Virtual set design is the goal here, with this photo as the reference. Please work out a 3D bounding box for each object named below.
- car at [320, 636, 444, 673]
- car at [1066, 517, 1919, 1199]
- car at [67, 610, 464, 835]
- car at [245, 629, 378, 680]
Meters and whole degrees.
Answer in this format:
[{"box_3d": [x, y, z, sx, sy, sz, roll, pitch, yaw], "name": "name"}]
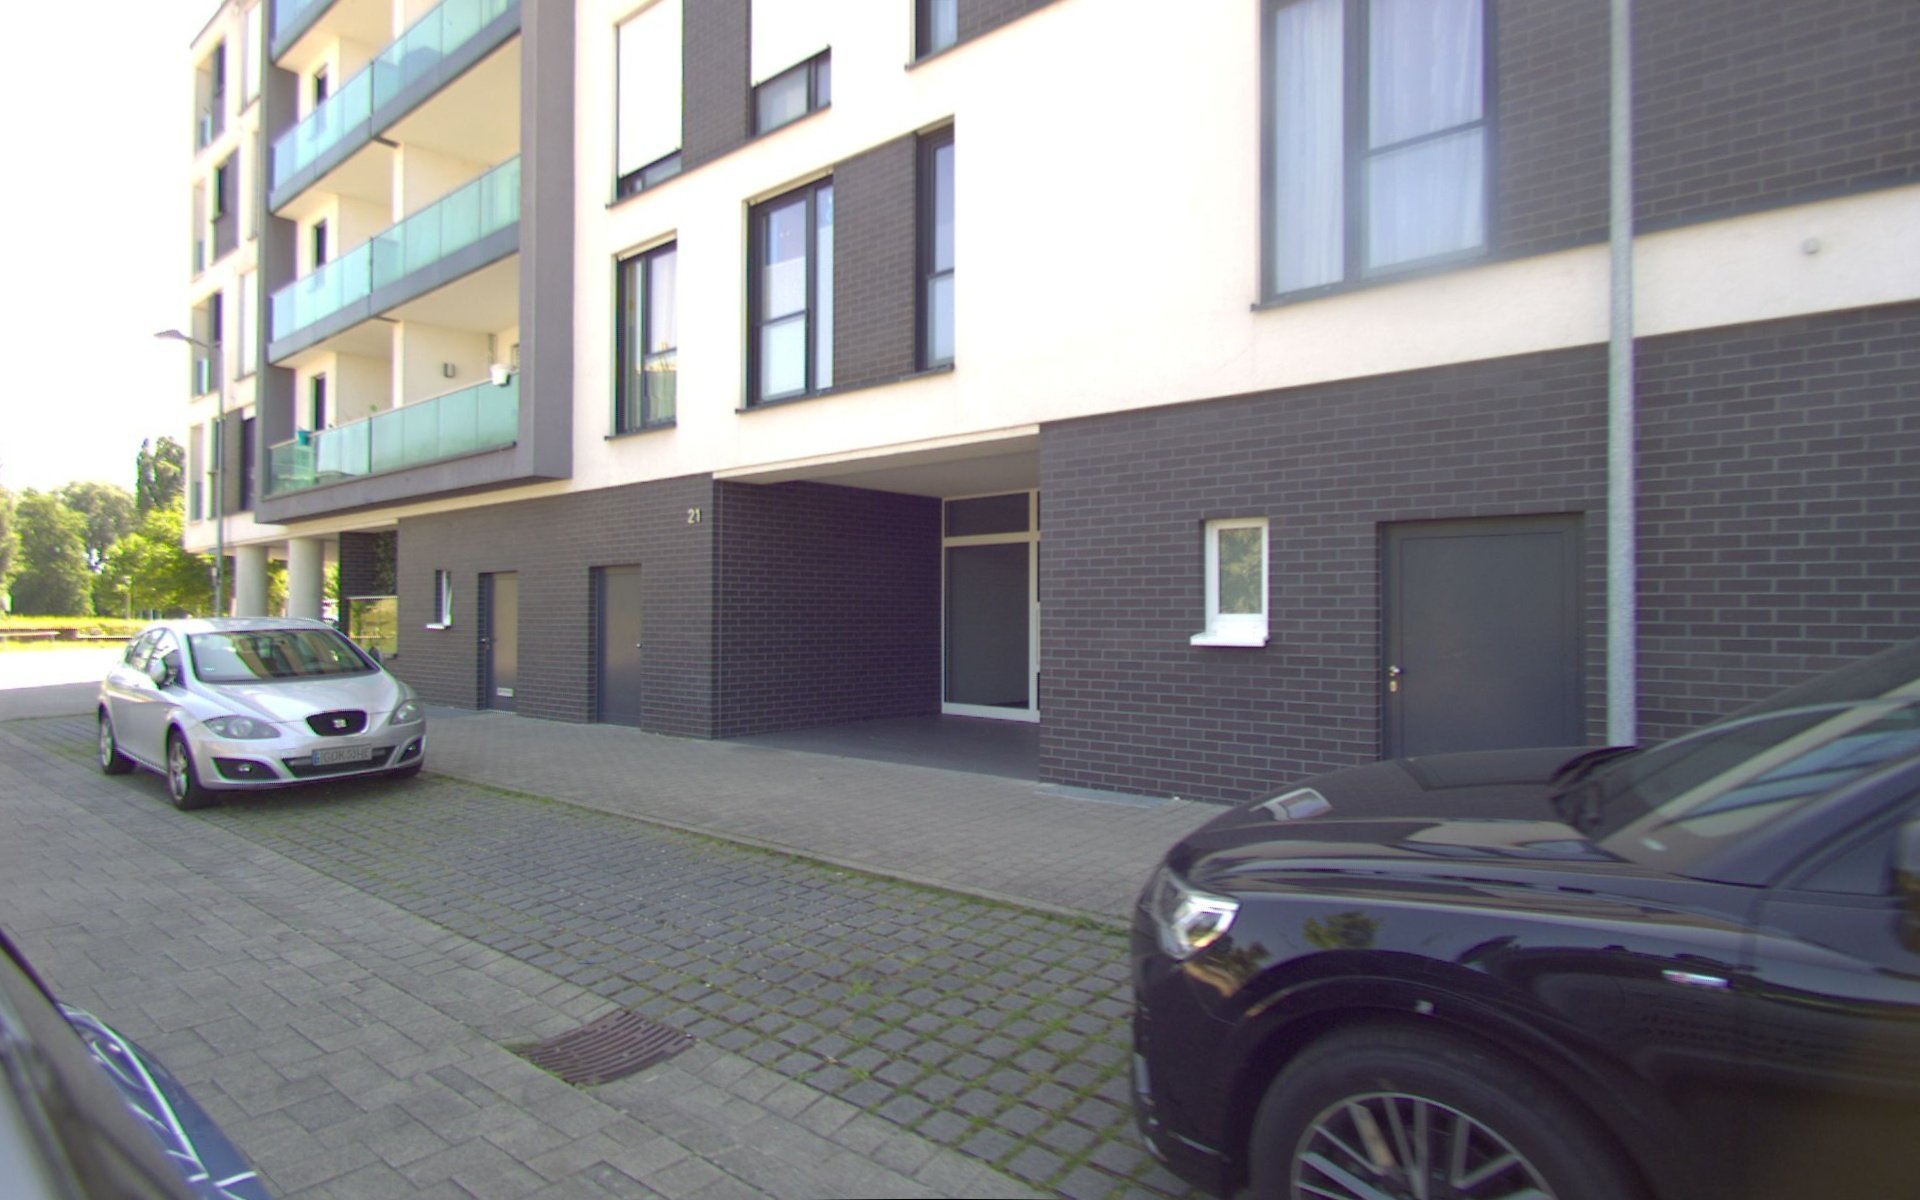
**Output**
[{"box_3d": [-22.099, 2.058, 38.839, 1.765, 1.280, 3.975, -1, -1, 19], "name": "car"}, {"box_3d": [2.505, 0.629, 1.589, 4.390, 1.531, 1.757, -1, 0, 38], "name": "car"}, {"box_3d": [-6.291, 0.889, 8.999, 4.109, 1.516, 1.765, -1, 0, 38], "name": "car"}, {"box_3d": [-24.970, 2.047, 39.143, 1.984, 1.796, 3.975, -1, -1, 19], "name": "car"}]
